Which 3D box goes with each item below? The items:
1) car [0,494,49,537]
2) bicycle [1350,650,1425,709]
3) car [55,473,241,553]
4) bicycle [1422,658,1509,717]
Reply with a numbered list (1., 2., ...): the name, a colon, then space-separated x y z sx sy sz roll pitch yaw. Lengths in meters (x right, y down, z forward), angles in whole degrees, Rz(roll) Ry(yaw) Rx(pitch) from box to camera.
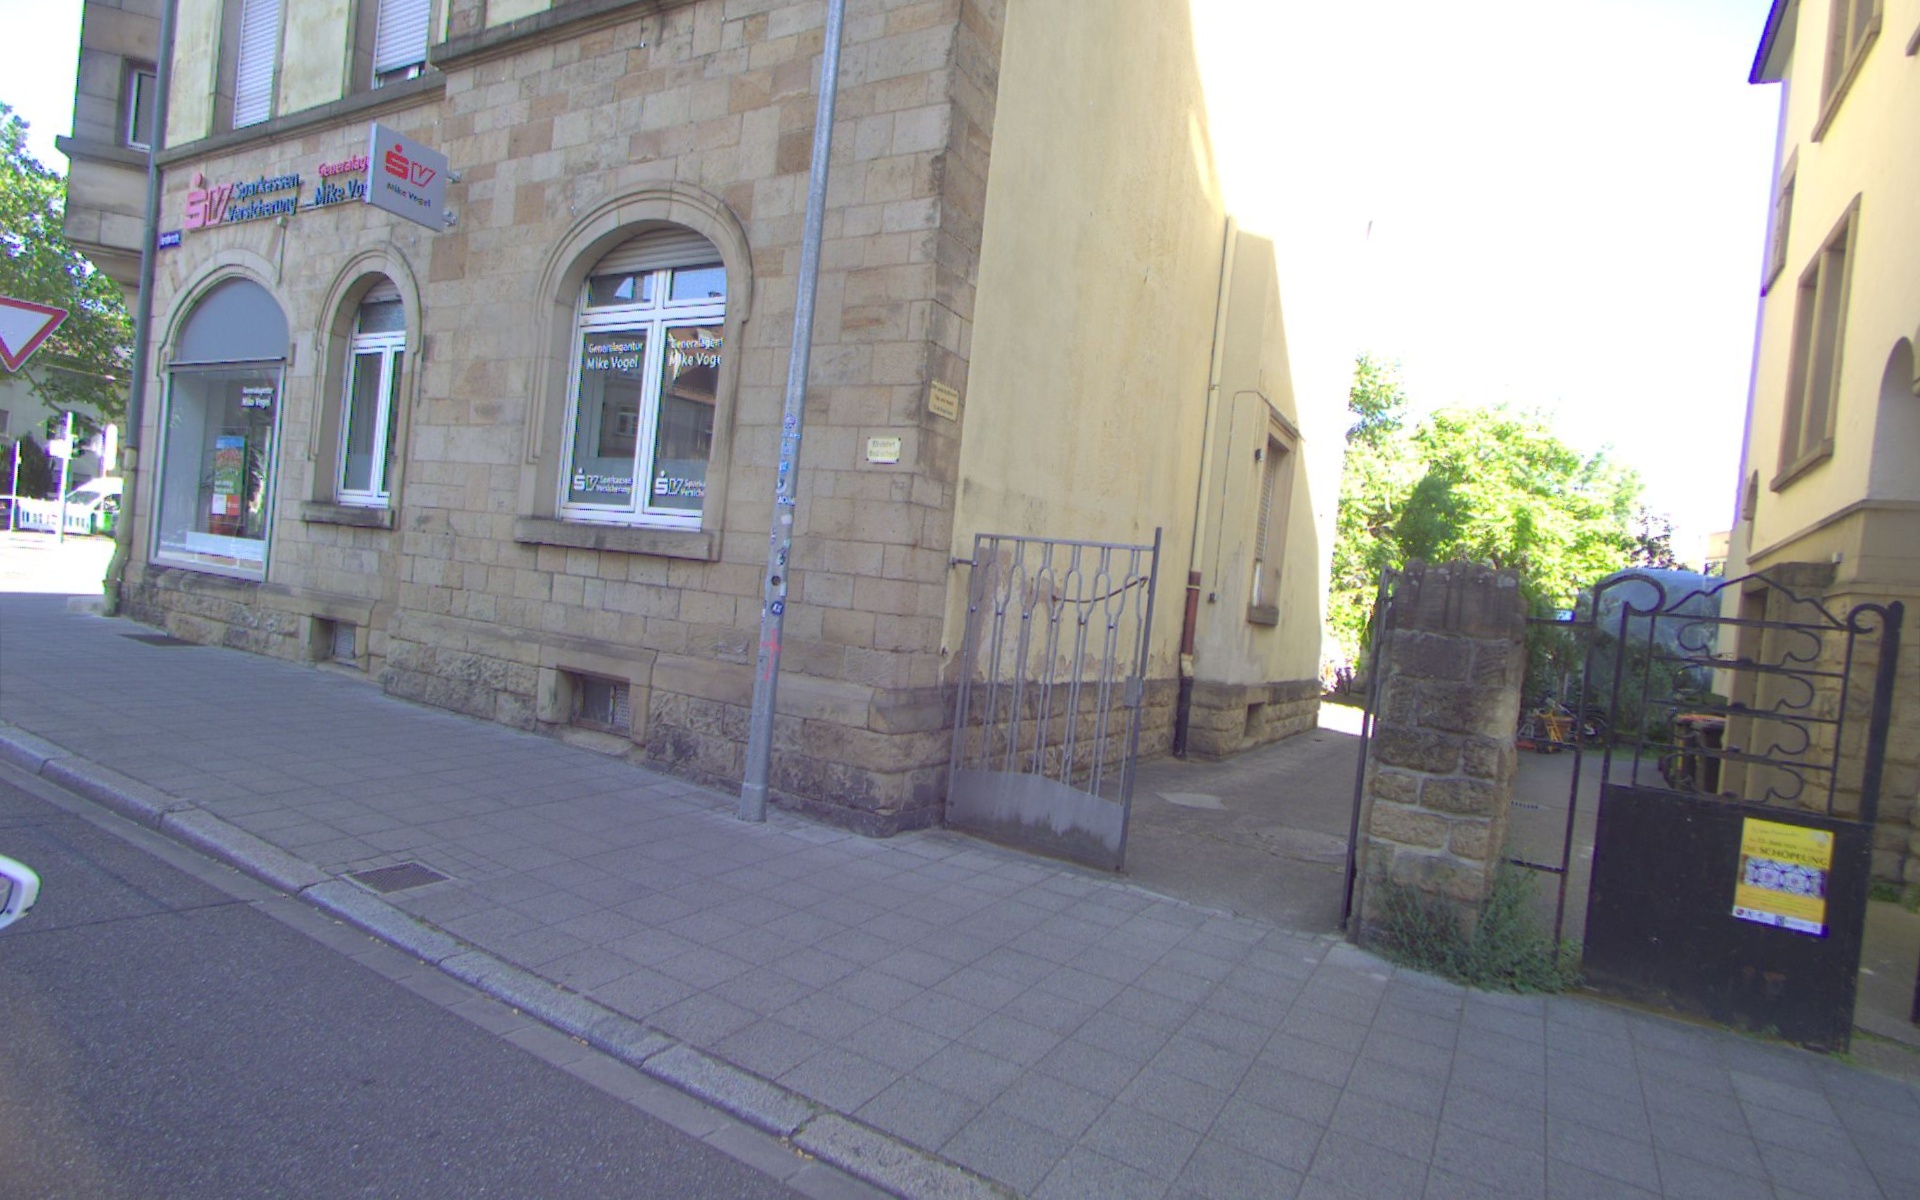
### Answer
1. car: -38.395 -3.461 39.672 1.496 1.506 3.391 6 0 10
2. bicycle: 10.619 1.948 25.083 0.860 1.180 2.659 6 0 6
3. car: -34.391 -3.603 42.911 1.962 2.600 6.061 7 0 14
4. bicycle: 12.306 2.105 24.612 0.855 1.124 2.864 6 0 7
